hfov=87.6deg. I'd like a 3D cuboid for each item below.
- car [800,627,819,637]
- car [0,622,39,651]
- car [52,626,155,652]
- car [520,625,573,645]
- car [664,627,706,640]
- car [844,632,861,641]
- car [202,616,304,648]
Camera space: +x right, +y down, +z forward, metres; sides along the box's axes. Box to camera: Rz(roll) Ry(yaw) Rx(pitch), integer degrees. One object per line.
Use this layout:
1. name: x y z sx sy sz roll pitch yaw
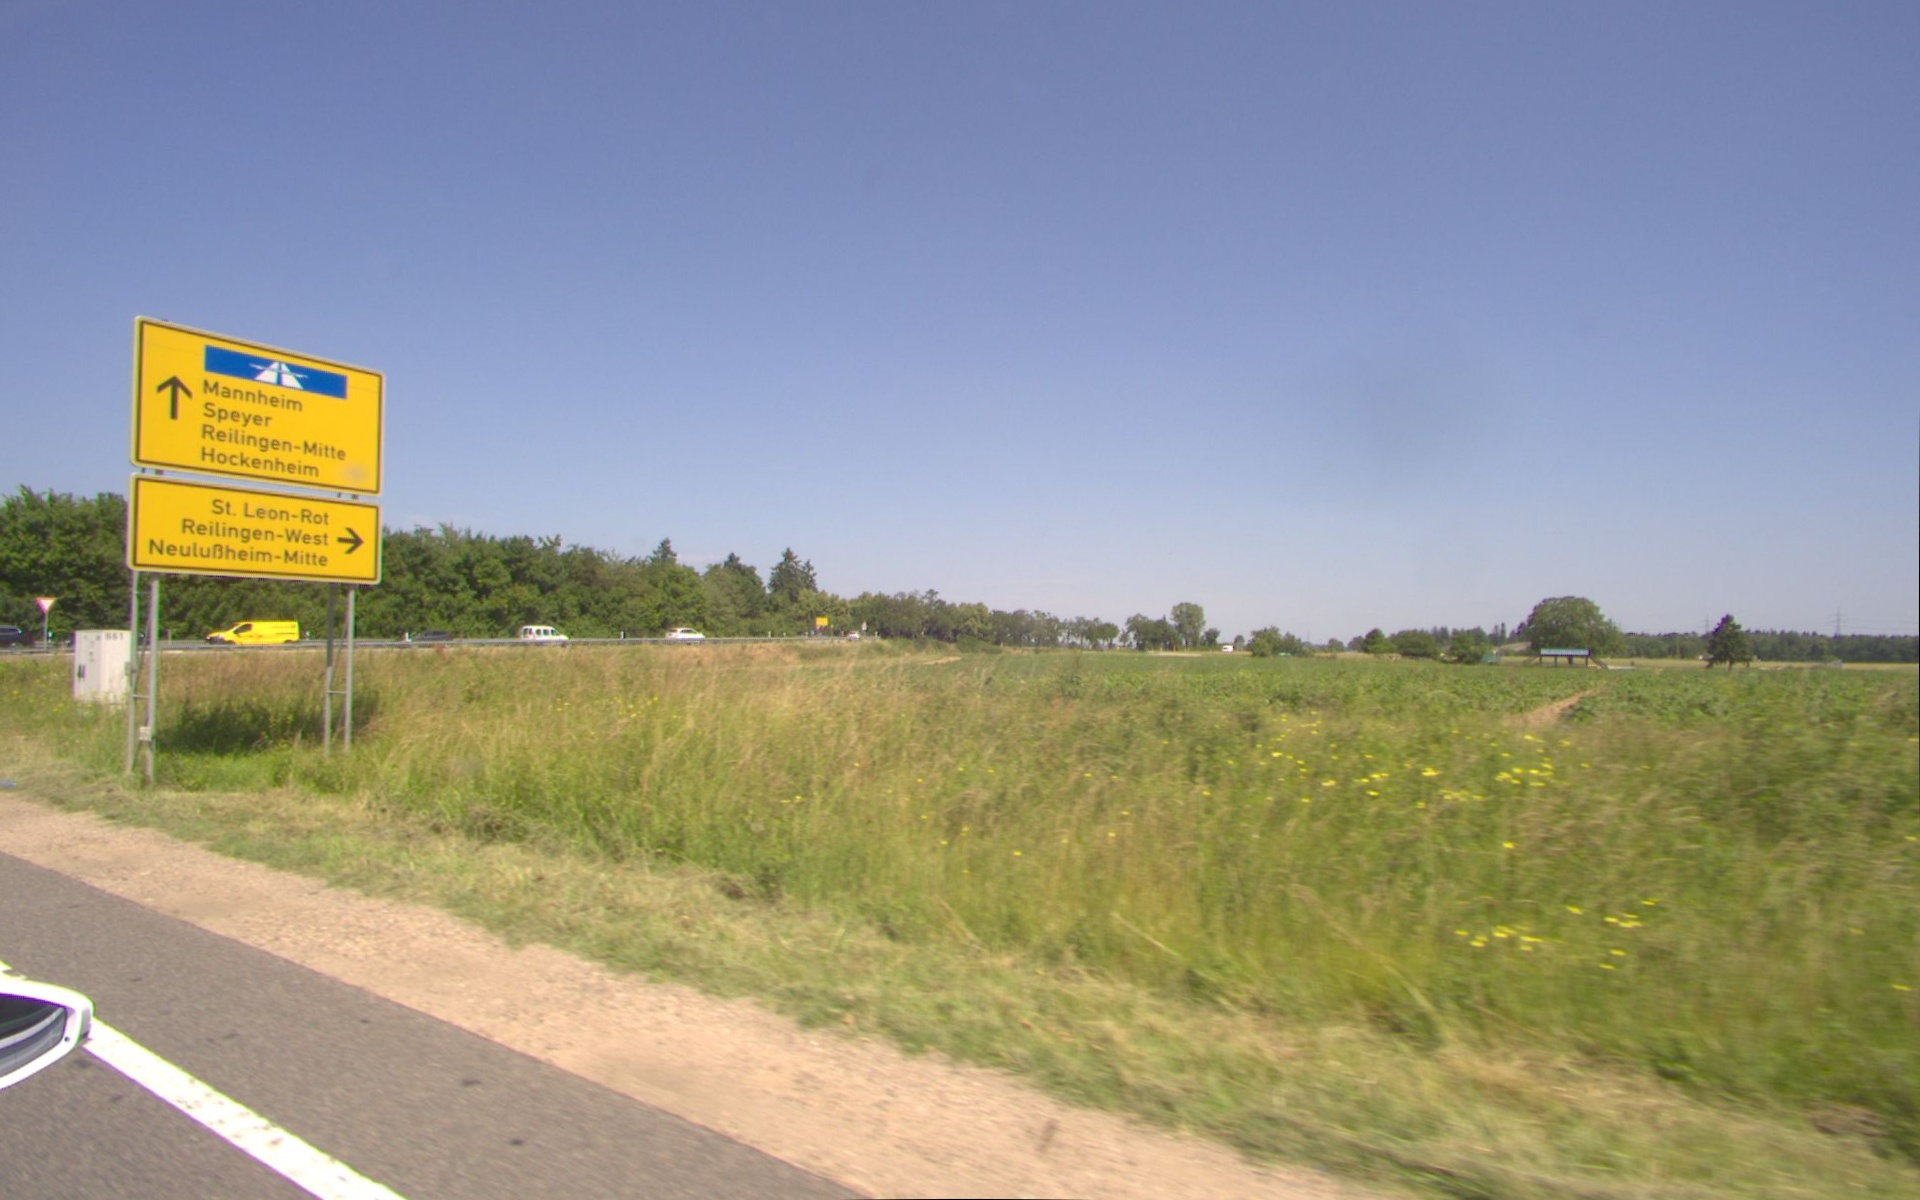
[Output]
1. car: -24.011 5.140 159.994 1.824 1.533 4.682 1 -2 -24
2. car: -55.304 2.074 56.639 1.744 1.618 4.475 -1 -2 35
3. car: -53.305 2.415 62.397 1.831 1.533 4.664 -1 -2 39
4. car: -34.313 2.885 83.213 1.690 1.589 3.986 -1 -2 27
5. car: -26.706 3.294 97.489 1.691 1.204 3.985 -1 -2 29
6. car: -14.324 4.865 133.943 1.684 1.204 4.002 0 -2 2
7. car: -47.805 2.177 67.817 1.972 2.039 5.312 -1 -2 33
